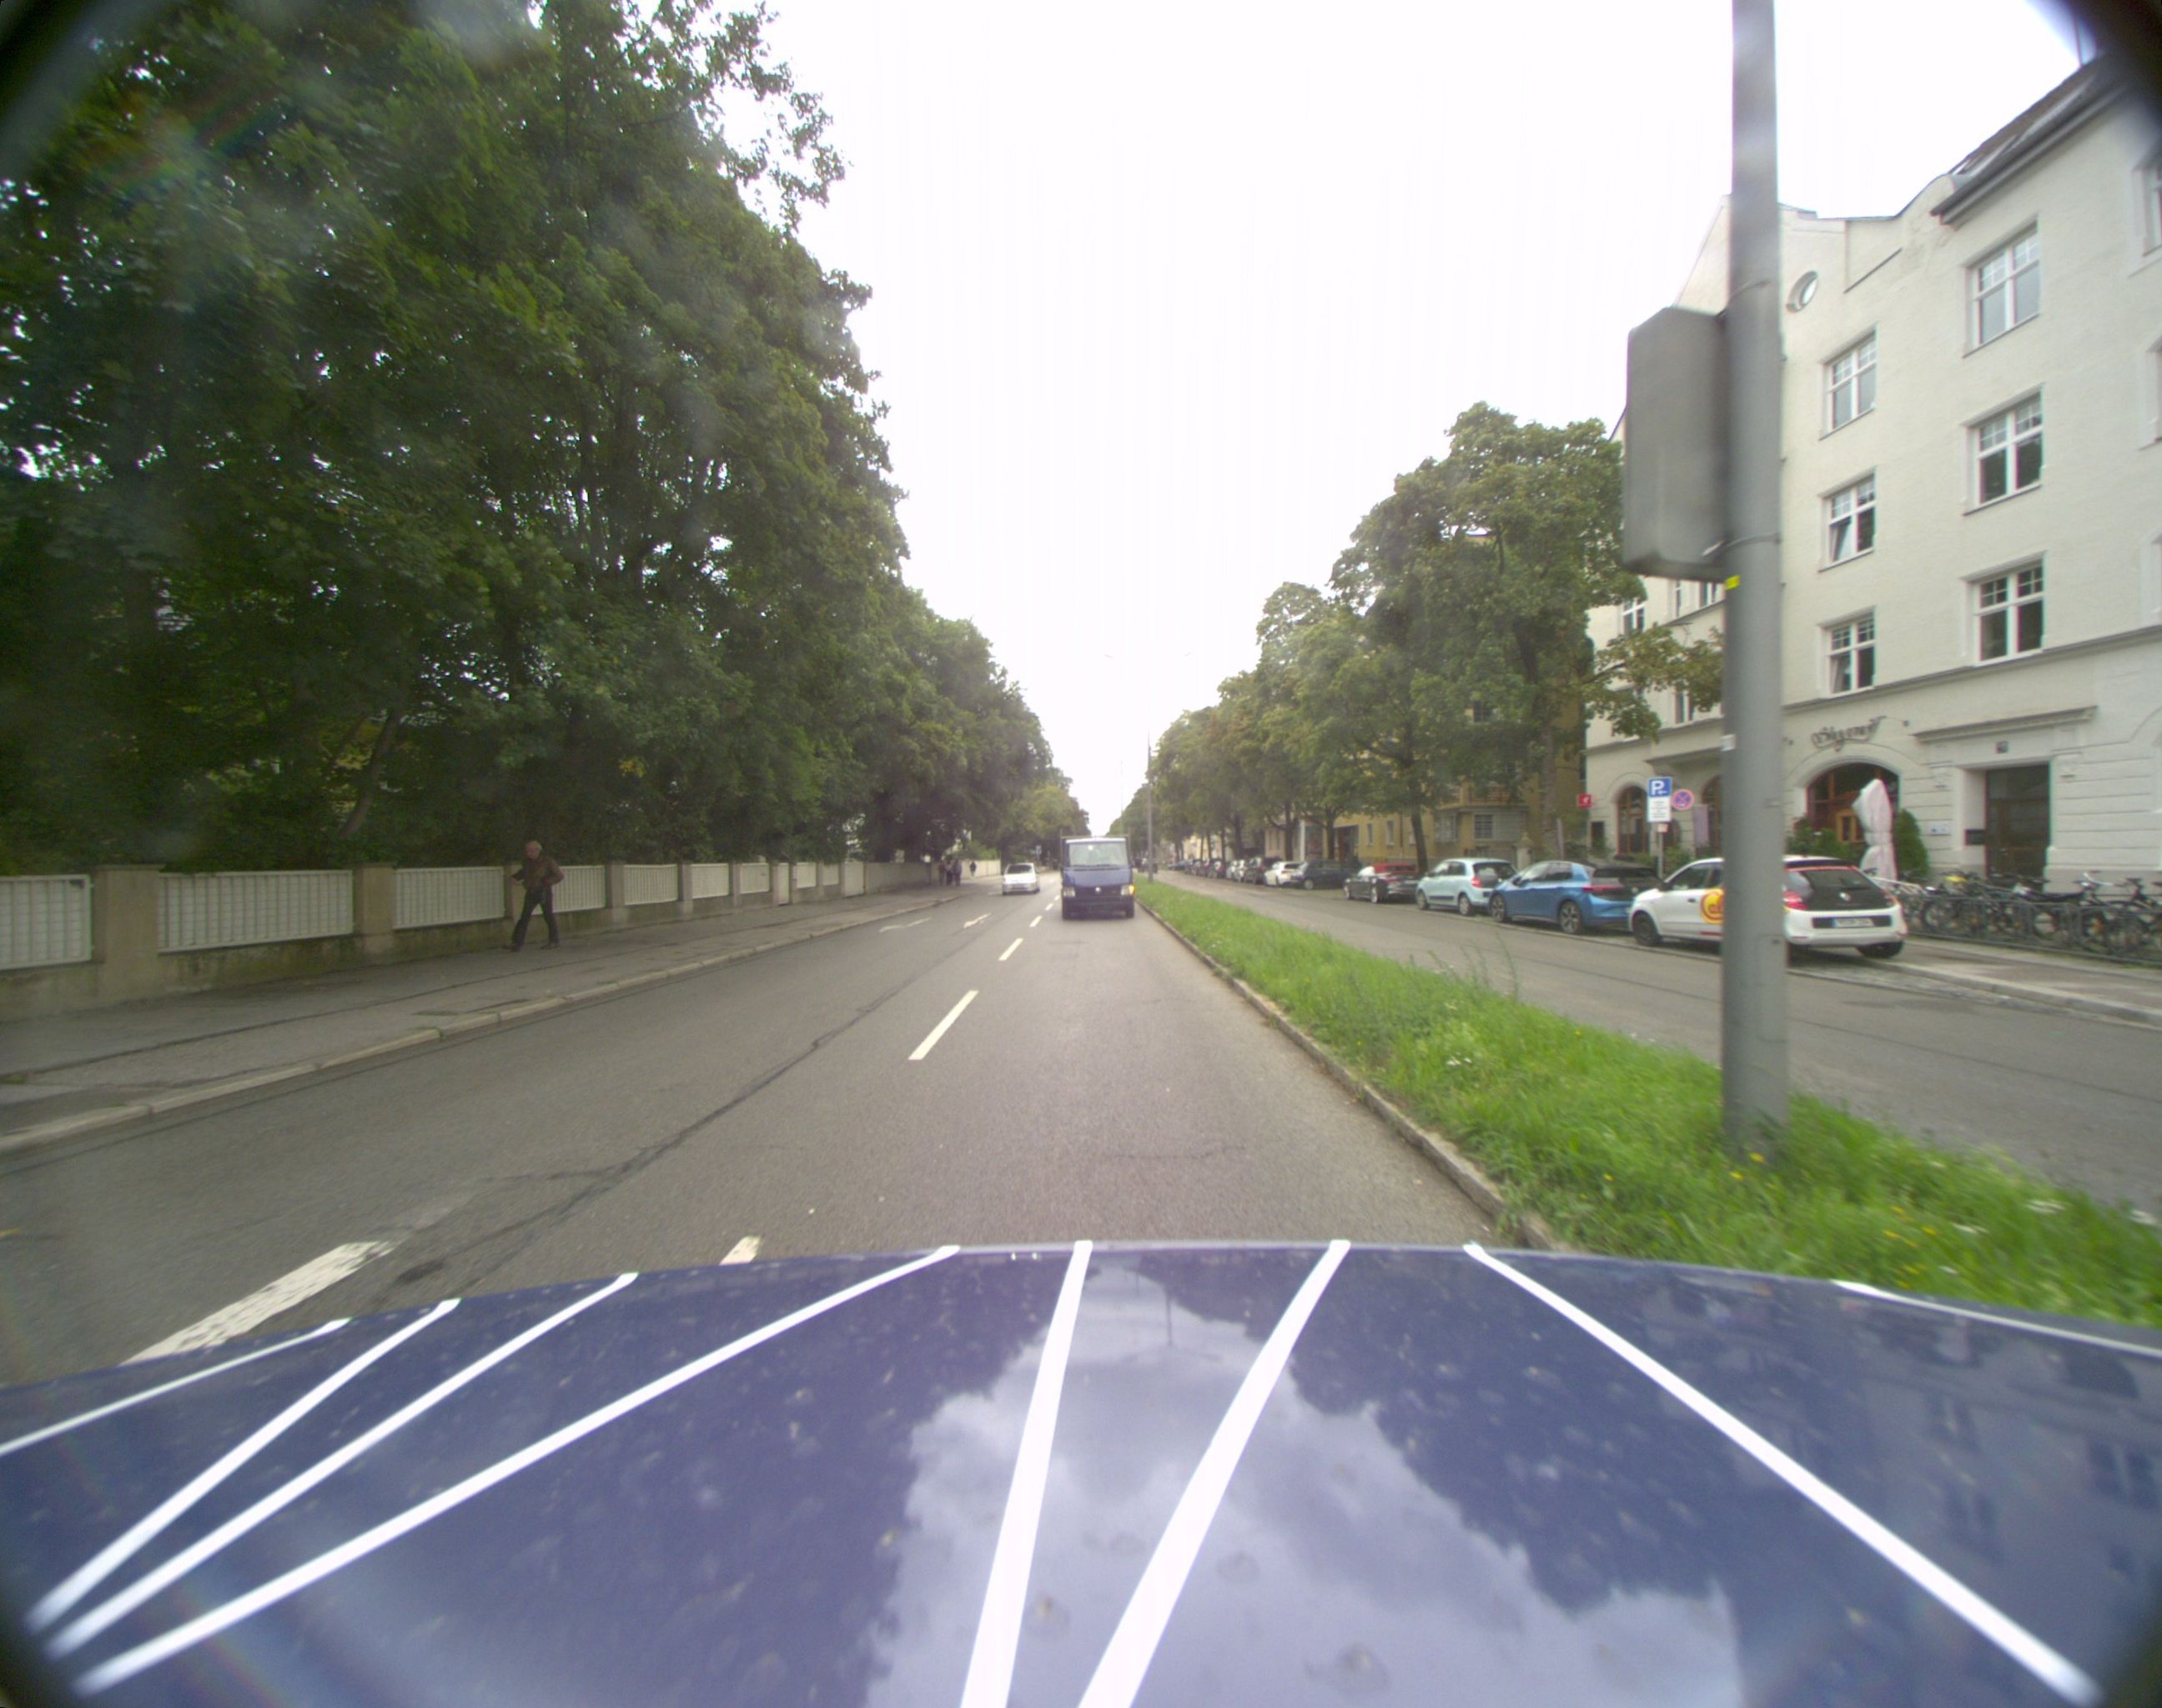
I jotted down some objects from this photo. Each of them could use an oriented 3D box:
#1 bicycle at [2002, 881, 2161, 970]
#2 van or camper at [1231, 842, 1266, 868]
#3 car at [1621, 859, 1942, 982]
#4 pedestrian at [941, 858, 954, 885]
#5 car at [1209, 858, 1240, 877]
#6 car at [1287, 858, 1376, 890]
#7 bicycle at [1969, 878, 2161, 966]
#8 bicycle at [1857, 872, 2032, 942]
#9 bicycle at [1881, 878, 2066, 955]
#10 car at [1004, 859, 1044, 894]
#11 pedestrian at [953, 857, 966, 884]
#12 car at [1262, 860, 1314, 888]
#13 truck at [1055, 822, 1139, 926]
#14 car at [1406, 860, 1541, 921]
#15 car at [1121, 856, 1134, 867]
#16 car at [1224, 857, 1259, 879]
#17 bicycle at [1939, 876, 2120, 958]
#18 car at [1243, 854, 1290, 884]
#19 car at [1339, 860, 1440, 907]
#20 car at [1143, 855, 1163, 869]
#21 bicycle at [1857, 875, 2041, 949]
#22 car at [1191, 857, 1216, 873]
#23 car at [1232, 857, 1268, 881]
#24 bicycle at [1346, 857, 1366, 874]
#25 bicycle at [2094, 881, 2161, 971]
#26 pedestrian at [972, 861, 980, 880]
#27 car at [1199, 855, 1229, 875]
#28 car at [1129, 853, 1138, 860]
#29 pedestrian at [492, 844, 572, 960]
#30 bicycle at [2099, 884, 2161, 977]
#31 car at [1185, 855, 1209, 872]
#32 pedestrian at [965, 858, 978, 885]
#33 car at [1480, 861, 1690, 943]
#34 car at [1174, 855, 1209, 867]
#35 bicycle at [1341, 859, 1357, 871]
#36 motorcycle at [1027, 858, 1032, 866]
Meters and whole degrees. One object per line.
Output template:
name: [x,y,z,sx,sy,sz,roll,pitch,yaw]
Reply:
bicycle: [13.875,0.941,10.223,0.331,1.109,1.871,-1,0,-22]
van or camper: [17.653,0.112,80.452,2.351,2.564,6.851,-1,0,1]
car: [10.608,0.892,11.943,1.653,1.576,3.790,-1,0,3]
pedestrian: [-8.393,1.093,47.821,0.668,1.695,0.766,1,1,0]
car: [11.418,1.048,60.714,1.731,1.397,4.363,-1,0,1]
car: [12.507,0.989,38.111,3.899,1.455,1.732,-1,0,0]
bicycle: [14.066,0.927,10.800,0.331,1.109,1.871,-1,0,-22]
bicycle: [14.942,0.875,13.217,0.460,1.109,1.962,-1,0,-31]
bicycle: [14.379,0.959,12.306,0.550,1.109,1.877,-1,0,-31]
car: [-2.712,1.060,37.037,1.647,1.553,3.586,-1,0,0]
pedestrian: [-7.625,1.054,47.872,0.668,1.683,0.729,1,1,0]
car: [11.255,1.042,41.637,1.731,1.394,4.404,-1,0,1]
truck: [0.443,0.491,20.858,1.998,2.475,5.151,-1,0,1]
car: [10.946,0.964,21.515,1.815,1.498,3.960,-1,0,1]
car: [7.256,1.165,118.196,1.774,1.669,4.369,1,0,1]
car: [11.728,0.984,55.643,1.731,1.552,4.057,-1,0,1]
bicycle: [14.275,0.912,11.501,0.331,1.109,1.677,-1,0,-27]
car: [11.478,0.896,47.251,1.815,1.718,4.767,-1,0,1]
car: [10.938,0.989,27.299,1.815,1.498,4.645,-1,0,1]
car: [8.064,0.885,85.450,1.879,1.575,4.621,1,0,2]
bicycle: [14.621,0.937,12.875,0.505,1.109,1.984,-1,0,-31]
car: [11.639,1.057,72.498,1.696,1.446,4.492,-1,0,1]
car: [11.458,1.017,51.734,1.731,1.548,3.010,-1,0,-1]
bicycle: [19.729,0.815,54.602,0.771,1.215,1.931,-1,0,1]
bicycle: [13.806,0.911,9.290,0.331,1.109,1.678,-1,0,-22]
pedestrian: [-8.787,1.361,63.524,0.529,1.572,0.729,1,1,0]
car: [11.595,0.962,66.490,1.883,1.636,4.770,-1,0,1]
car: [12.999,0.612,188.716,1.872,1.827,4.000,-1,0,1]
pedestrian: [-9.402,0.799,13.032,0.779,1.931,0.802,0,0,1]
bicycle: [13.475,0.936,8.993,0.331,1.109,1.678,-1,0,-22]
car: [11.800,0.964,77.684,1.878,1.677,4.438,-1,0,1]
pedestrian: [-6.919,1.095,47.872,0.668,1.712,0.729,1,1,0]
car: [10.776,0.950,16.689,1.815,1.498,4.291,-1,0,1]
car: [13.951,0.897,96.286,3.989,1.367,1.866,-2,-1,35]
bicycle: [20.078,0.795,56.898,0.543,0.894,1.931,-1,0,1]
motorcycle: [-8.023,1.242,118.463,0.497,1.135,1.631,-1,0,-9]
